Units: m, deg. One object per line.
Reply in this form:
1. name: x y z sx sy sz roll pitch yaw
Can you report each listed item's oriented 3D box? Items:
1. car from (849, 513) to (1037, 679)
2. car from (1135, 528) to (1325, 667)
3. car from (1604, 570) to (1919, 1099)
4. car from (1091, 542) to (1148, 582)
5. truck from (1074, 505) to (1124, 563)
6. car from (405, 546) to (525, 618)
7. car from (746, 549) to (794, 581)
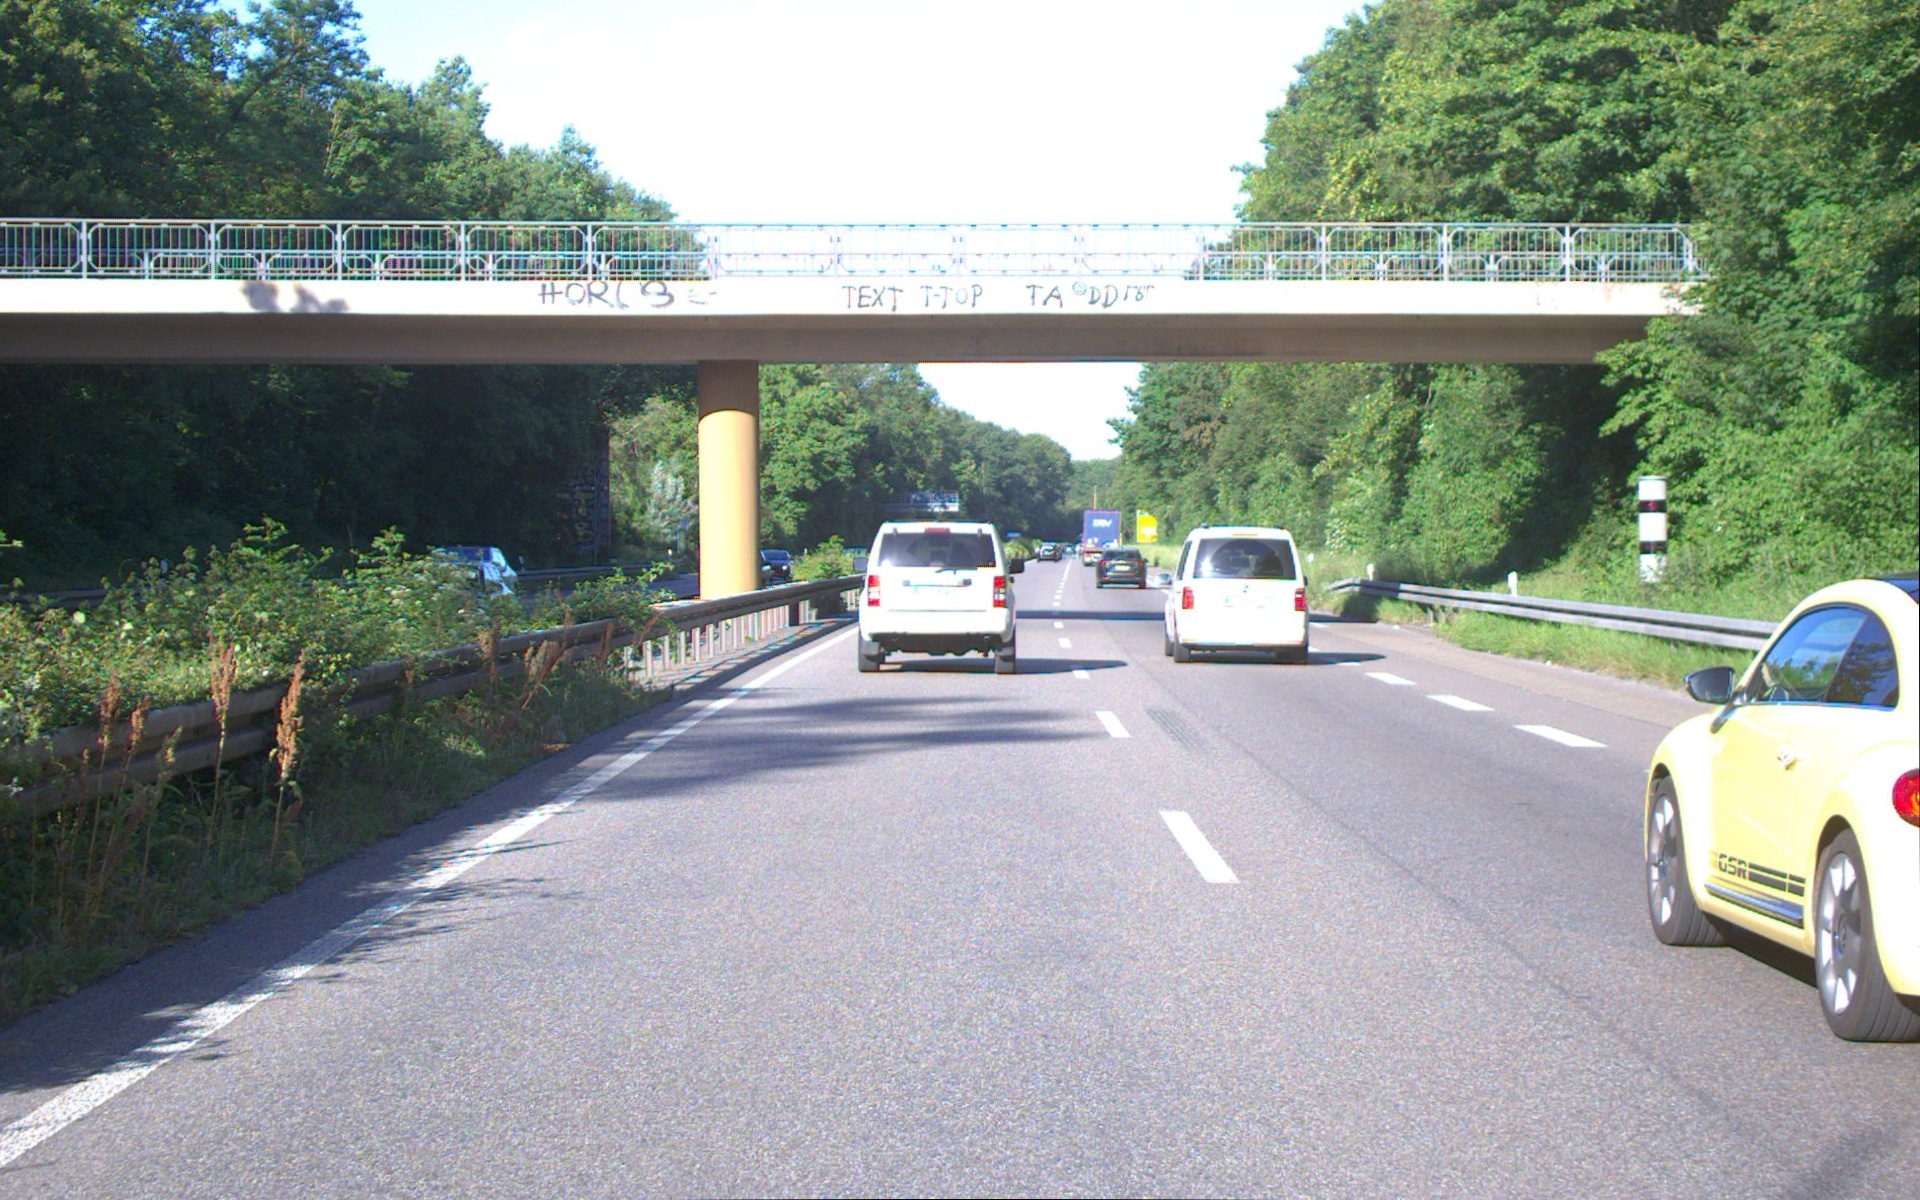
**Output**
1. car: -0.250 -0.076 41.103 2.085 1.822 4.000 2 1 -2
2. car: 3.576 -0.065 46.318 1.863 1.764 4.470 0 1 -5
3. car: 3.604 0.657 11.875 1.879 1.456 4.356 1 1 -1
4. car: 5.719 -1.369 123.660 1.993 1.393 4.000 0 1 2
5. truck: 9.974 -4.714 247.172 3.496 4.158 8.861 0 1 2
6. car: -11.690 -0.459 81.507 1.961 1.653 5.040 0 1 2
7. car: -9.132 -1.701 165.631 1.960 1.445 4.584 1 1 1
